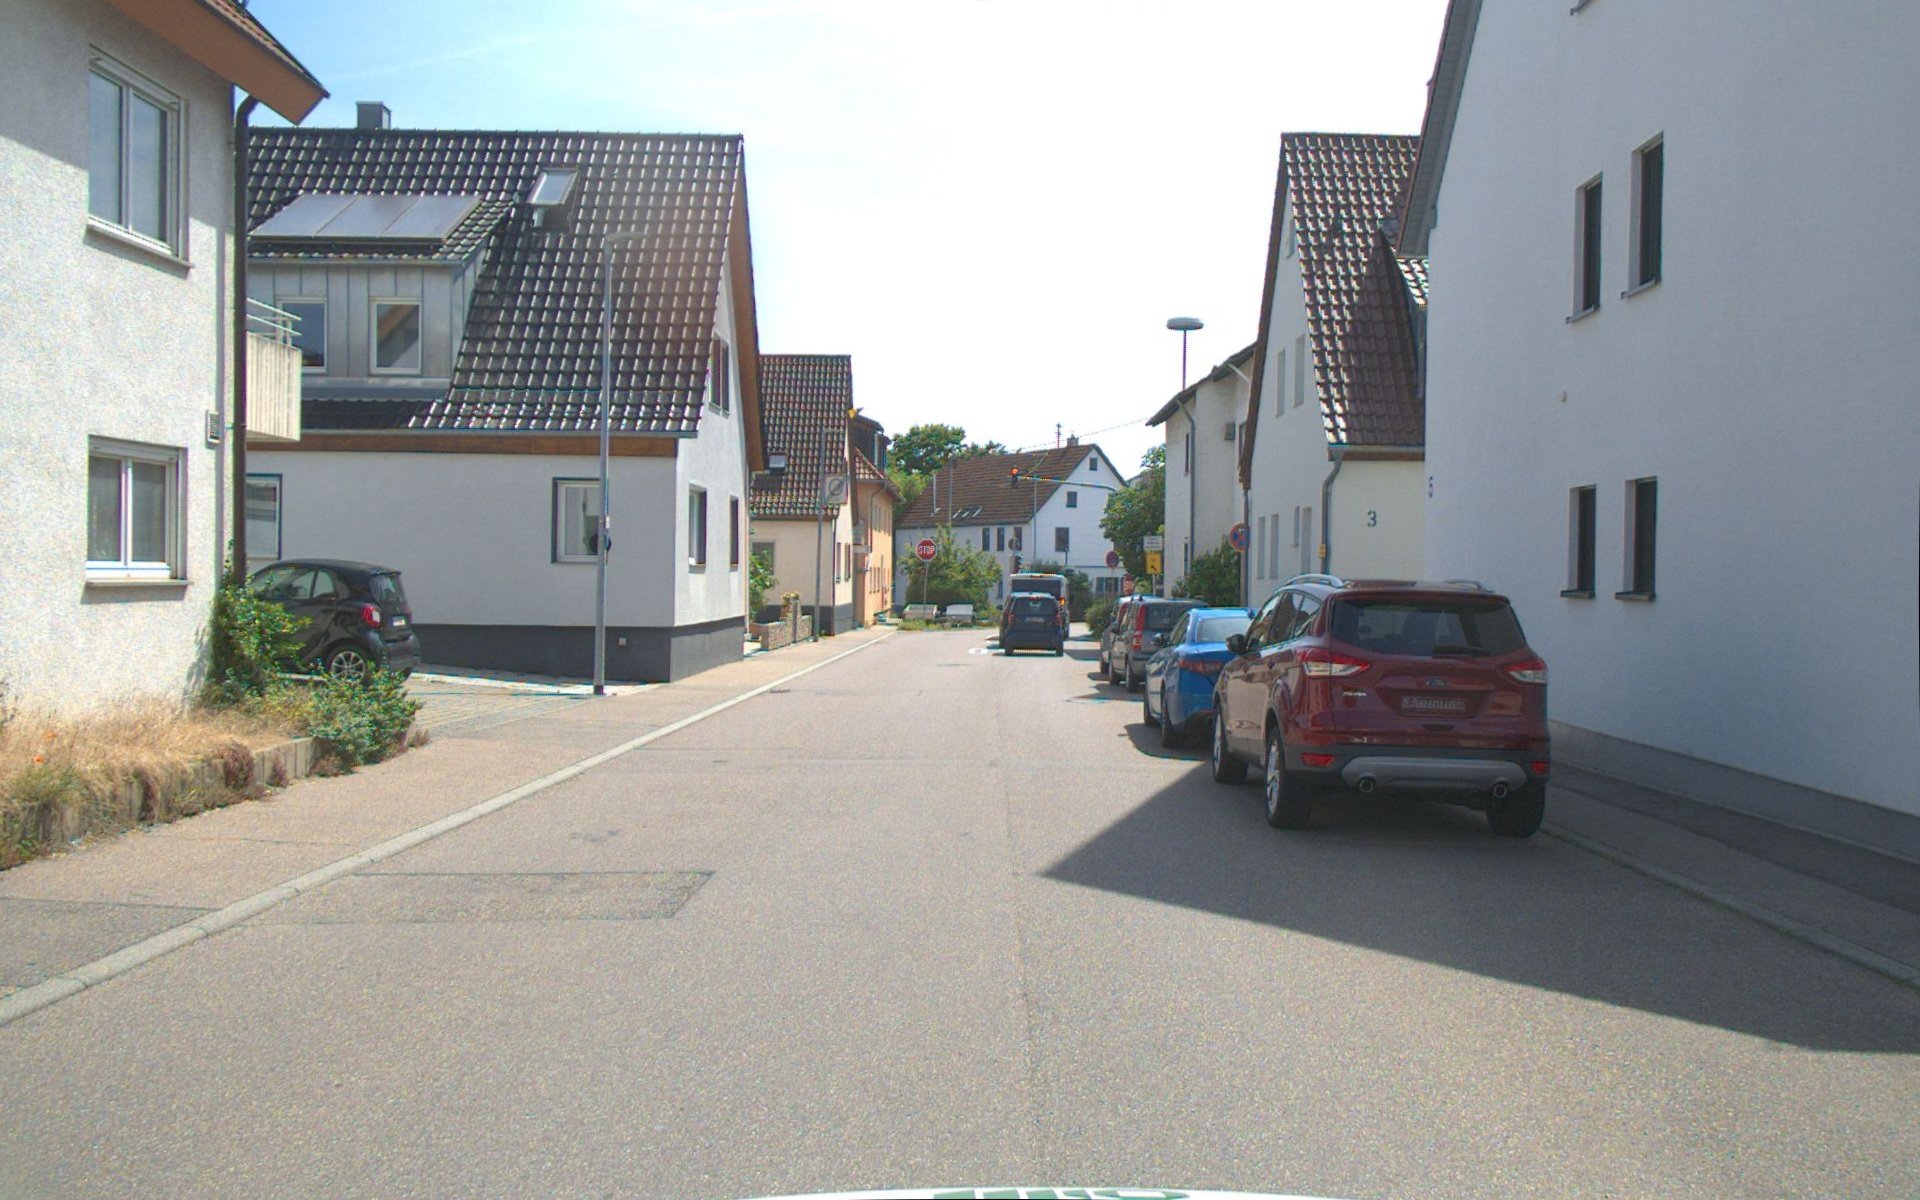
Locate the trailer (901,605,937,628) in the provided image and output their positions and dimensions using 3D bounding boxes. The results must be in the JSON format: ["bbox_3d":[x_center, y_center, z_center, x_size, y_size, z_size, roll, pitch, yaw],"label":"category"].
[{"bbox_3d":[-1.816,0.727,73.196,1.470,0.943,1.012,3,0,2],"label":"trailer"}]

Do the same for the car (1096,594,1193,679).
[{"bbox_3d":[3.565,0.667,32.386,1.467,1.539,3.362,1,0,0],"label":"car"}]

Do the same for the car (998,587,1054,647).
[{"bbox_3d":[1.958,0.476,48.183,1.484,1.653,3.186,1,0,4],"label":"car"}]

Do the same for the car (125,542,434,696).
[{"bbox_3d":[-8.446,0.225,20.725,3.047,1.604,1.714,5,0,-1],"label":"car"}]

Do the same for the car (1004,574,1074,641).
[{"bbox_3d":[2.800,0.235,57.488,2.083,2.196,4.740,1,0,7],"label":"car"}]

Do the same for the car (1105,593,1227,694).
[{"bbox_3d":[3.452,0.689,28.178,1.535,1.572,3.448,1,0,-1],"label":"car"}]

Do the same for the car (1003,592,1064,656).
[{"bbox_3d":[1.962,0.608,43.453,1.484,1.594,3.186,2,0,4],"label":"car"}]

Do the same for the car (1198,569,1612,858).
[{"bbox_3d":[3.052,0.694,12.294,1.837,1.730,4.182,2,0,-1],"label":"car"}]

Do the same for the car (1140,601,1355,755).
[{"bbox_3d":[3.043,0.759,18.391,1.726,1.448,4.593,1,0,2],"label":"car"}]

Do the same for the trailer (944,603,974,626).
[{"bbox_3d":[-0.038,0.636,72.833,1.283,0.987,0.934,1,0,2],"label":"trailer"}]
